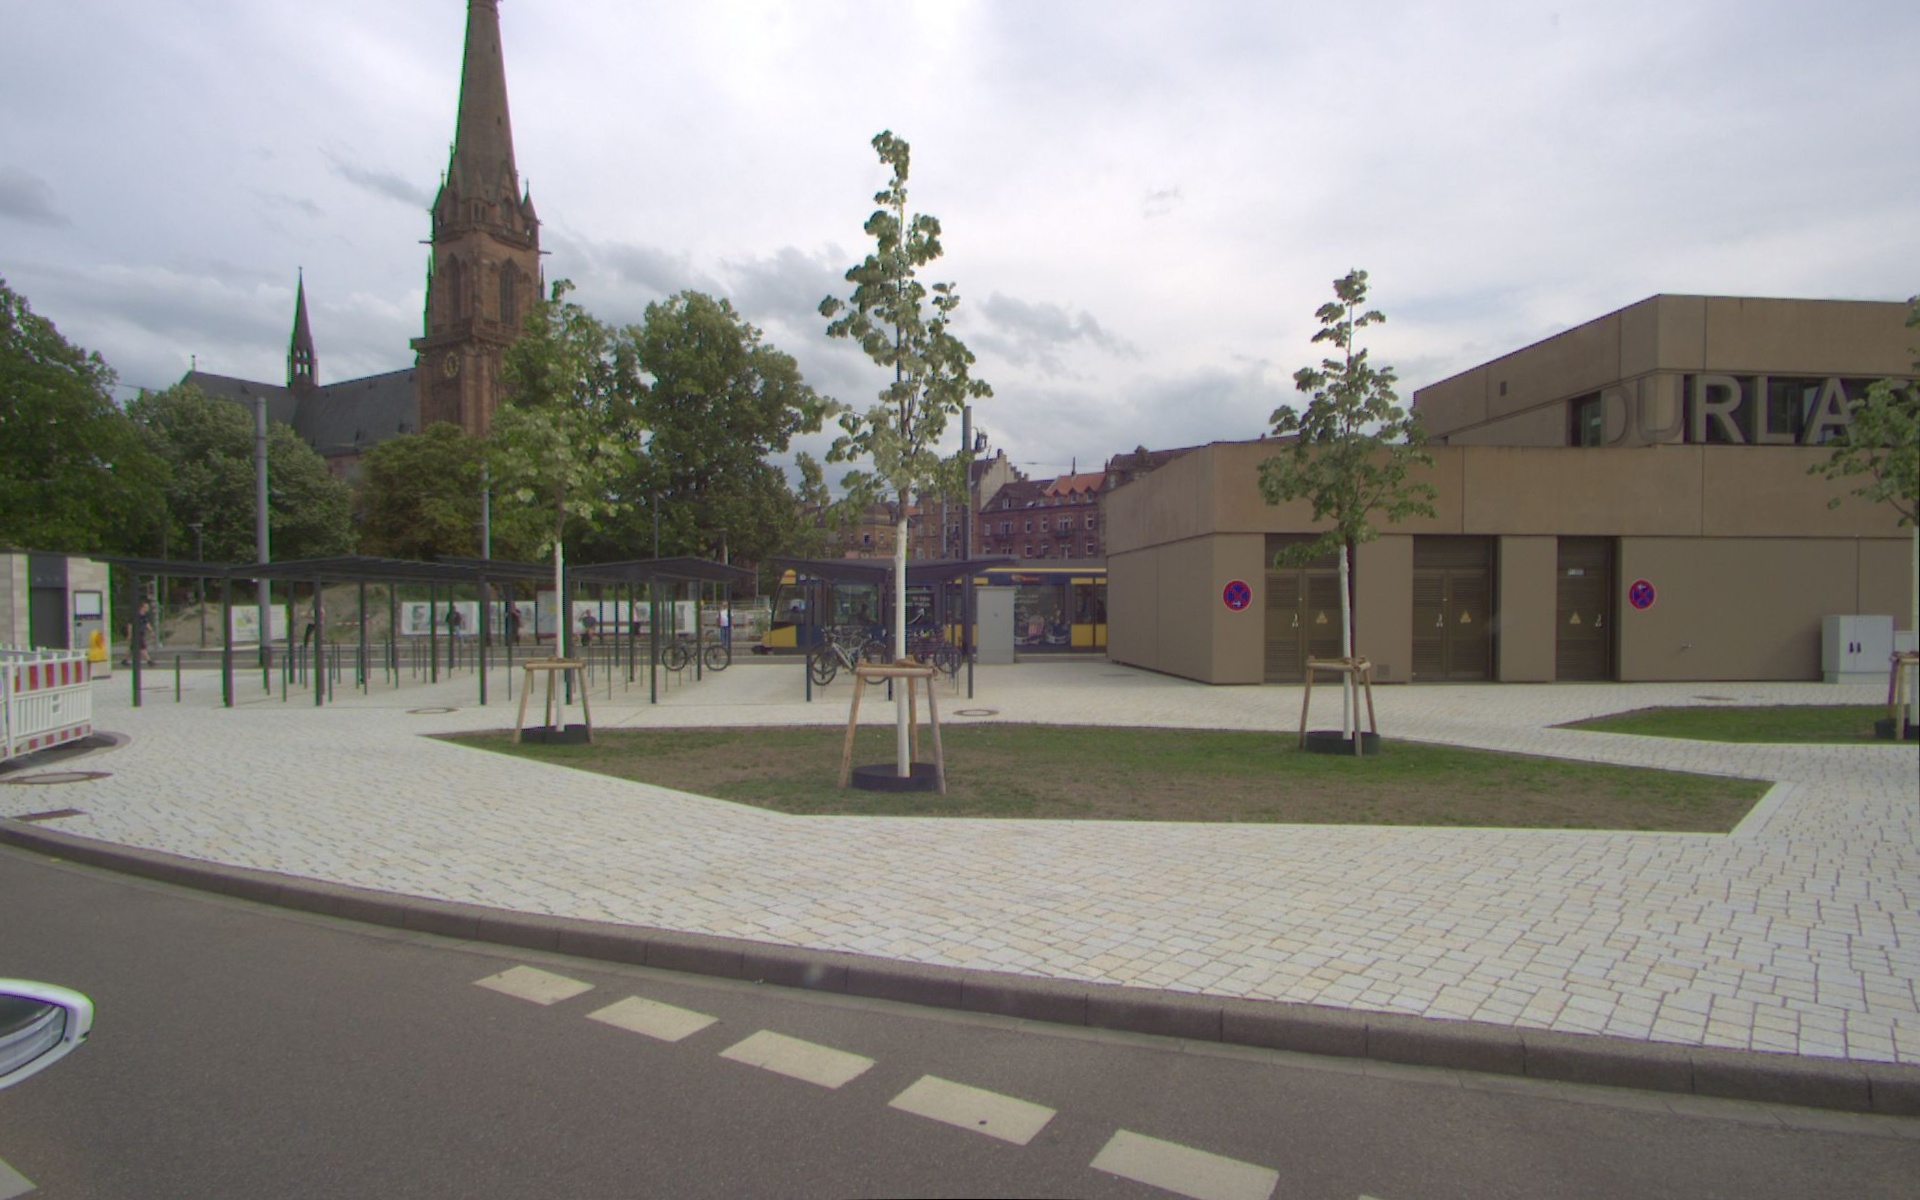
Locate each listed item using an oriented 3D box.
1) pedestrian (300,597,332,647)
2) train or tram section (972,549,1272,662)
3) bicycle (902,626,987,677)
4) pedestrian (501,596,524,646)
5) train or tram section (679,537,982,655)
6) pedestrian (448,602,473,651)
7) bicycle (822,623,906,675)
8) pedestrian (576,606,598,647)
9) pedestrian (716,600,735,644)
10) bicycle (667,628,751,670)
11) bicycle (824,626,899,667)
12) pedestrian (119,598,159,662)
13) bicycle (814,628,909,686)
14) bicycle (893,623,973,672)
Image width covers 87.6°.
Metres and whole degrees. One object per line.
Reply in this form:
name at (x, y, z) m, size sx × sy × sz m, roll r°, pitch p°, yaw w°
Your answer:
pedestrian at (-24.019, 0.806, 37.343) m, size 0.743 × 1.825 × 0.817 m, roll 3°, pitch 2°, yaw 42°
train or tram section at (5.180, 0.191, 33.119) m, size 9.248 × 3.256 × 3.061 m, roll 2°, pitch 1°, yaw -4°
bicycle at (-0.384, 1.240, 24.151) m, size 1.931 × 1.172 × 0.583 m, roll 2°, pitch 1°, yaw -13°
pedestrian at (-16.914, 0.793, 37.828) m, size 0.665 × 1.825 × 0.522 m, roll 2°, pitch 2°, yaw -11°
train or tram section at (-4.046, -0.107, 32.408) m, size 9.189 × 3.321 × 3.061 m, roll 2°, pitch 1°, yaw -4°
pedestrian at (-18.790, 0.997, 37.679) m, size 0.665 × 1.825 × 0.522 m, roll 2°, pitch 2°, yaw -11°
bicycle at (-2.310, 1.173, 24.087) m, size 1.931 × 1.172 × 0.583 m, roll 2°, pitch 1°, yaw -13°
pedestrian at (-14.171, 1.012, 38.076) m, size 0.665 × 1.505 × 0.689 m, roll 2°, pitch 1°, yaw -11°
pedestrian at (-9.217, 0.860, 39.425) m, size 0.665 × 1.701 × 0.709 m, roll 2°, pitch 1°, yaw -11°
bicycle at (-6.221, 1.219, 24.878) m, size 1.929 × 0.968 × 0.583 m, roll 2°, pitch 1°, yaw -7°
bicycle at (-2.618, 1.231, 26.505) m, size 1.929 × 0.983 × 0.583 m, roll 2°, pitch 1°, yaw -7°
pedestrian at (-21.833, 0.796, 26.634) m, size 0.618 × 1.677 × 0.531 m, roll 2°, pitch 1°, yaw -5°
bicycle at (-2.096, 1.210, 21.309) m, size 1.931 × 1.172 × 0.583 m, roll 2°, pitch 1°, yaw -13°
bicycle at (-0.687, 1.215, 25.574) m, size 1.931 × 1.172 × 0.583 m, roll 2°, pitch 1°, yaw -13°
